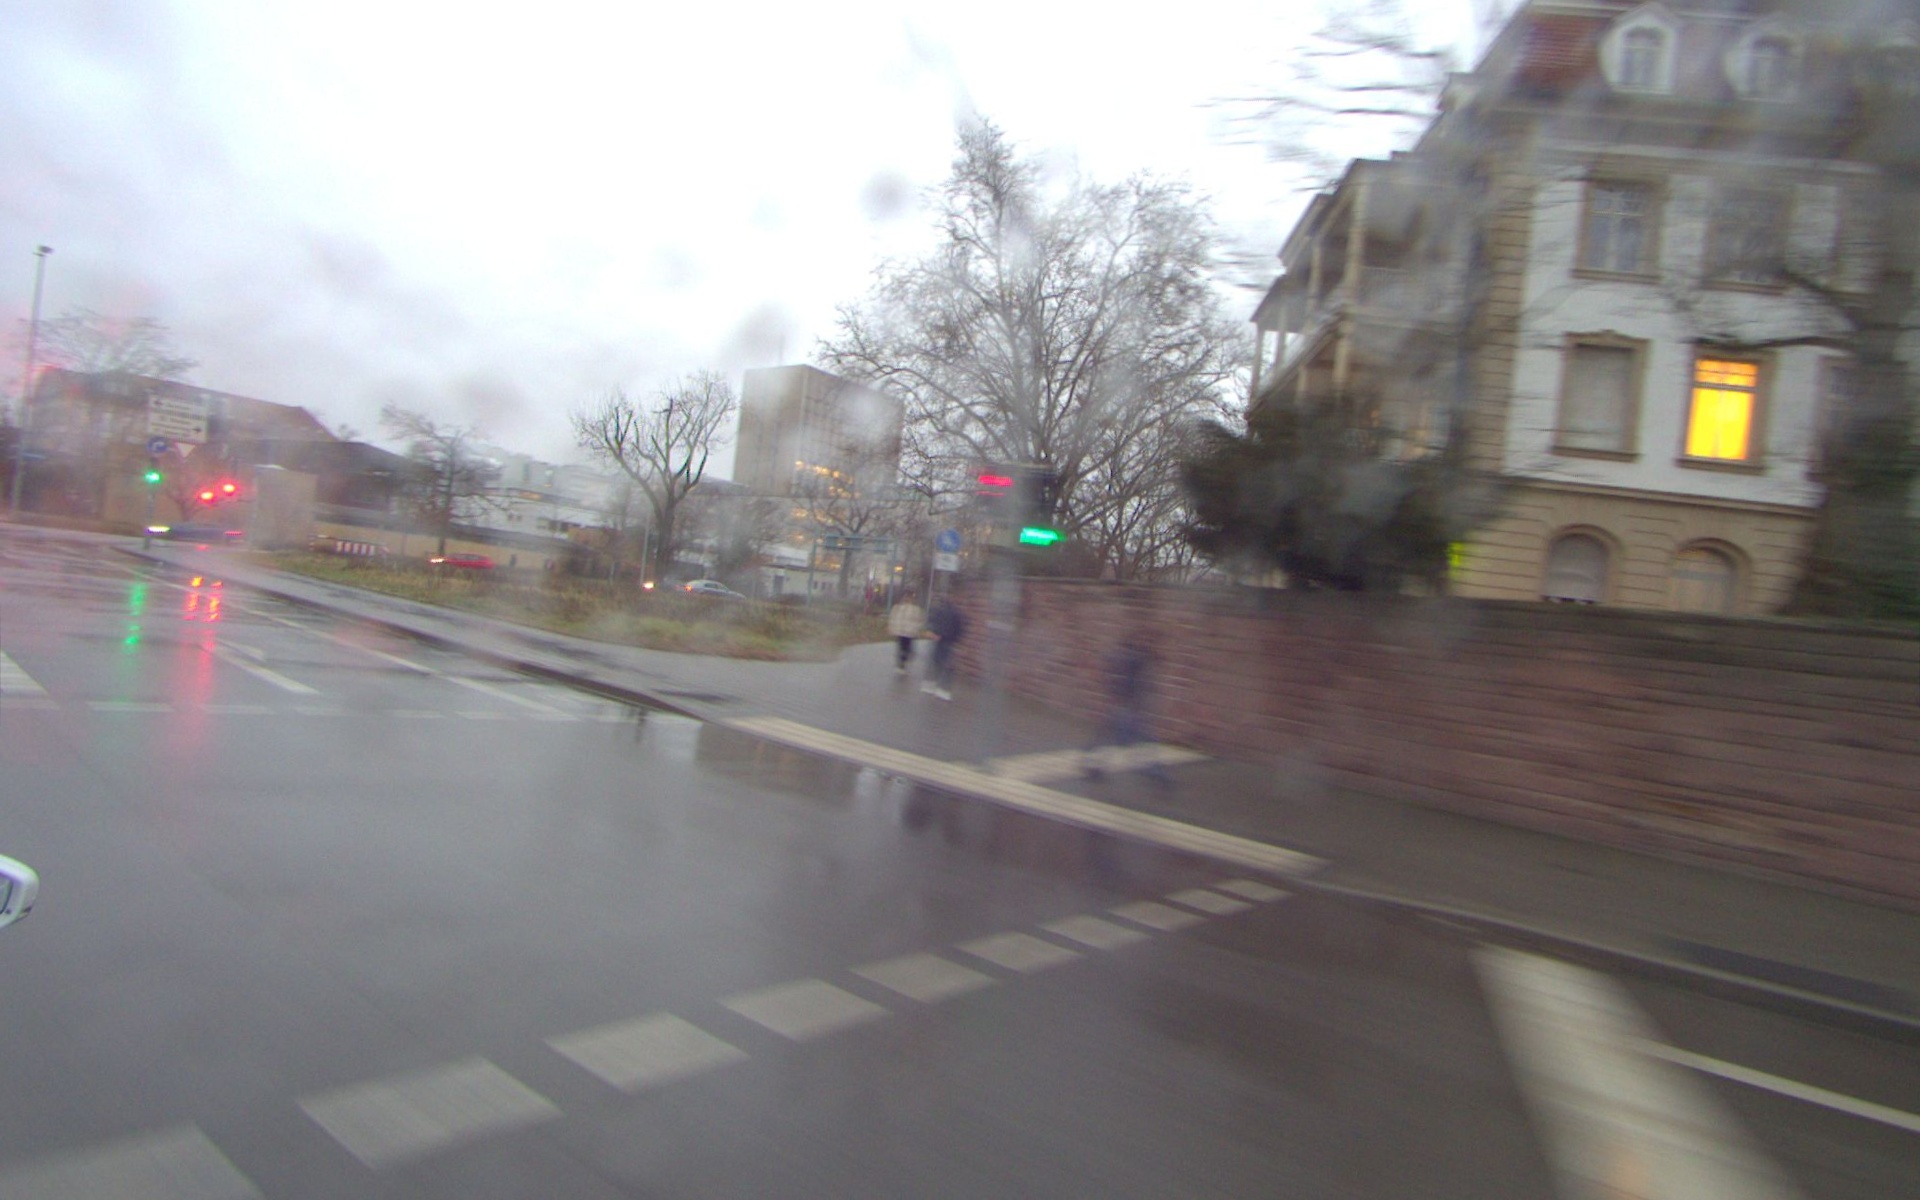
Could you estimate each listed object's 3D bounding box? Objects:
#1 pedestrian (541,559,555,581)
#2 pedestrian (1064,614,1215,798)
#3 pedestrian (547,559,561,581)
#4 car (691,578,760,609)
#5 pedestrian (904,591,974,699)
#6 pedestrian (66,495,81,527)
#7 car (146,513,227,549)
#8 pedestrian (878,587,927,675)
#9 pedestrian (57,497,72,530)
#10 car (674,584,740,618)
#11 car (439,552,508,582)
[{"bbox_3d":[-33.430,-2.452,81.685,0.622,1.744,0.751,8,-2,-43],"label":"pedestrian"},{"bbox_3d":[1.881,1.078,10.585,1.141,1.706,0.803,8,2,43],"label":"pedestrian"},{"bbox_3d":[-32.658,-2.421,80.984,0.622,1.744,0.751,8,-2,-43],"label":"pedestrian"},{"bbox_3d":[-10.228,-0.294,43.821,2.649,0.989,1.294,7,1,-25],"label":"car"},{"bbox_3d":[-0.341,0.754,16.852,0.717,1.697,0.791,7,2,27],"label":"pedestrian"},{"bbox_3d":[-53.217,-5.333,60.386,0.455,1.859,0.435,7,-2,-33],"label":"pedestrian"},{"bbox_3d":[-43.596,-3.874,56.775,3.391,1.413,1.456,9,-4,-35],"label":"car"},{"bbox_3d":[-1.178,0.626,20.736,0.765,1.697,0.961,6,1,1],"label":"pedestrian"},{"bbox_3d":[-54.032,-5.220,60.713,0.434,1.859,0.456,7,-2,-32],"label":"pedestrian"},{"bbox_3d":[-16.518,0.088,65.693,1.865,1.669,3.627,4,-4,44],"label":"car"},{"bbox_3d":[-32.660,-2.203,67.603,3.778,1.414,1.547,9,-4,-42],"label":"car"}]
